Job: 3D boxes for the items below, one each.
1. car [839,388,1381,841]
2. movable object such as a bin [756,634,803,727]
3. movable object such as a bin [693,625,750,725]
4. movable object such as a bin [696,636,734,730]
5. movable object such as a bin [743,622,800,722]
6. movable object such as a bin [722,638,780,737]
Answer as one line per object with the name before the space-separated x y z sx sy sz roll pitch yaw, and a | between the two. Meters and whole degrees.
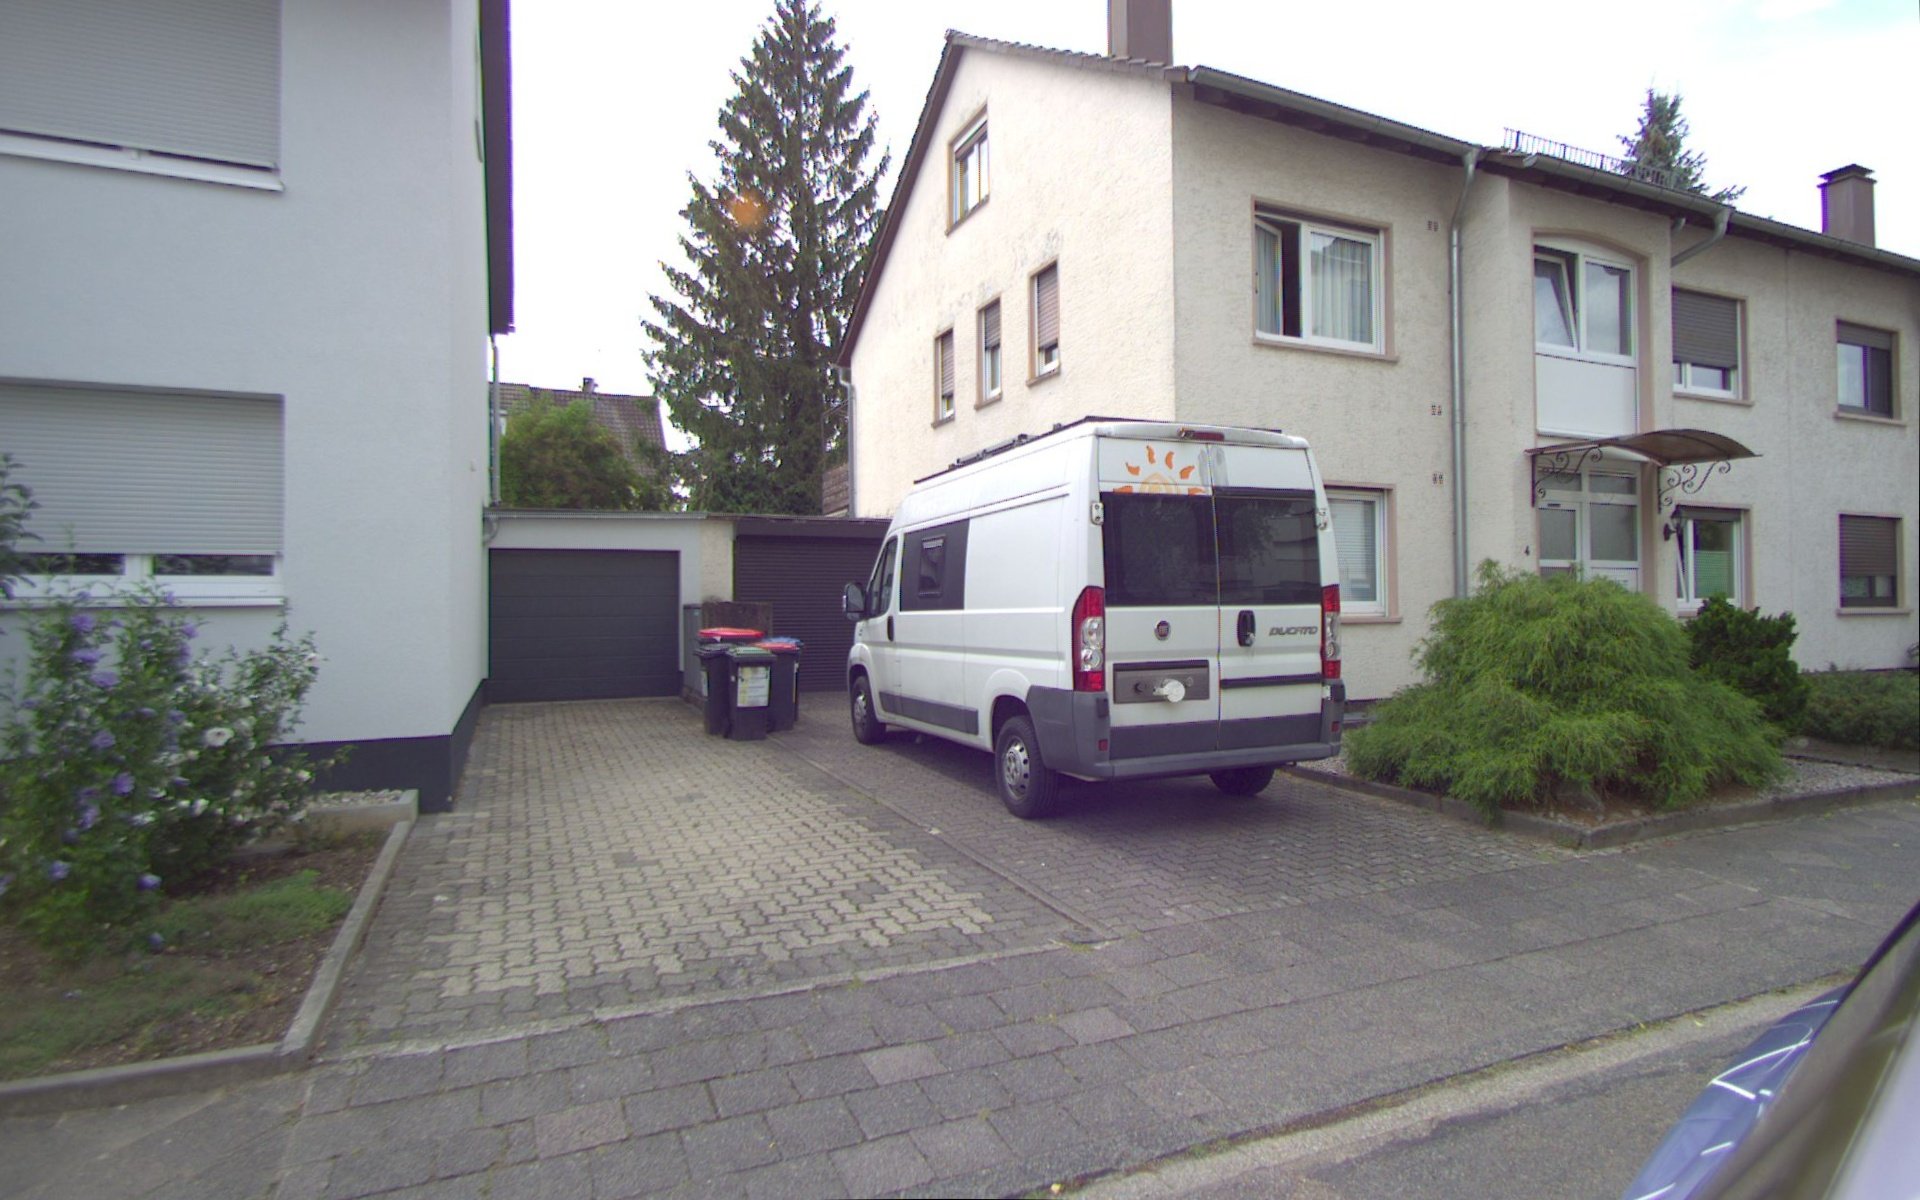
car | 0.745 0.042 8.535 2.191 2.574 5.114 0 1 -23
movable object such as a bin | -1.947 0.856 10.896 0.393 0.937 0.451 0 1 -24
movable object such as a bin | -2.629 0.810 11.142 0.535 1.044 0.457 0 1 -24
movable object such as a bin | -2.584 0.863 10.664 0.331 0.937 0.356 0 1 -24
movable object such as a bin | -2.121 0.792 11.377 0.535 1.069 0.457 0 1 -24
movable object such as a bin | -2.125 0.870 10.257 0.472 0.937 0.522 0 1 -24
